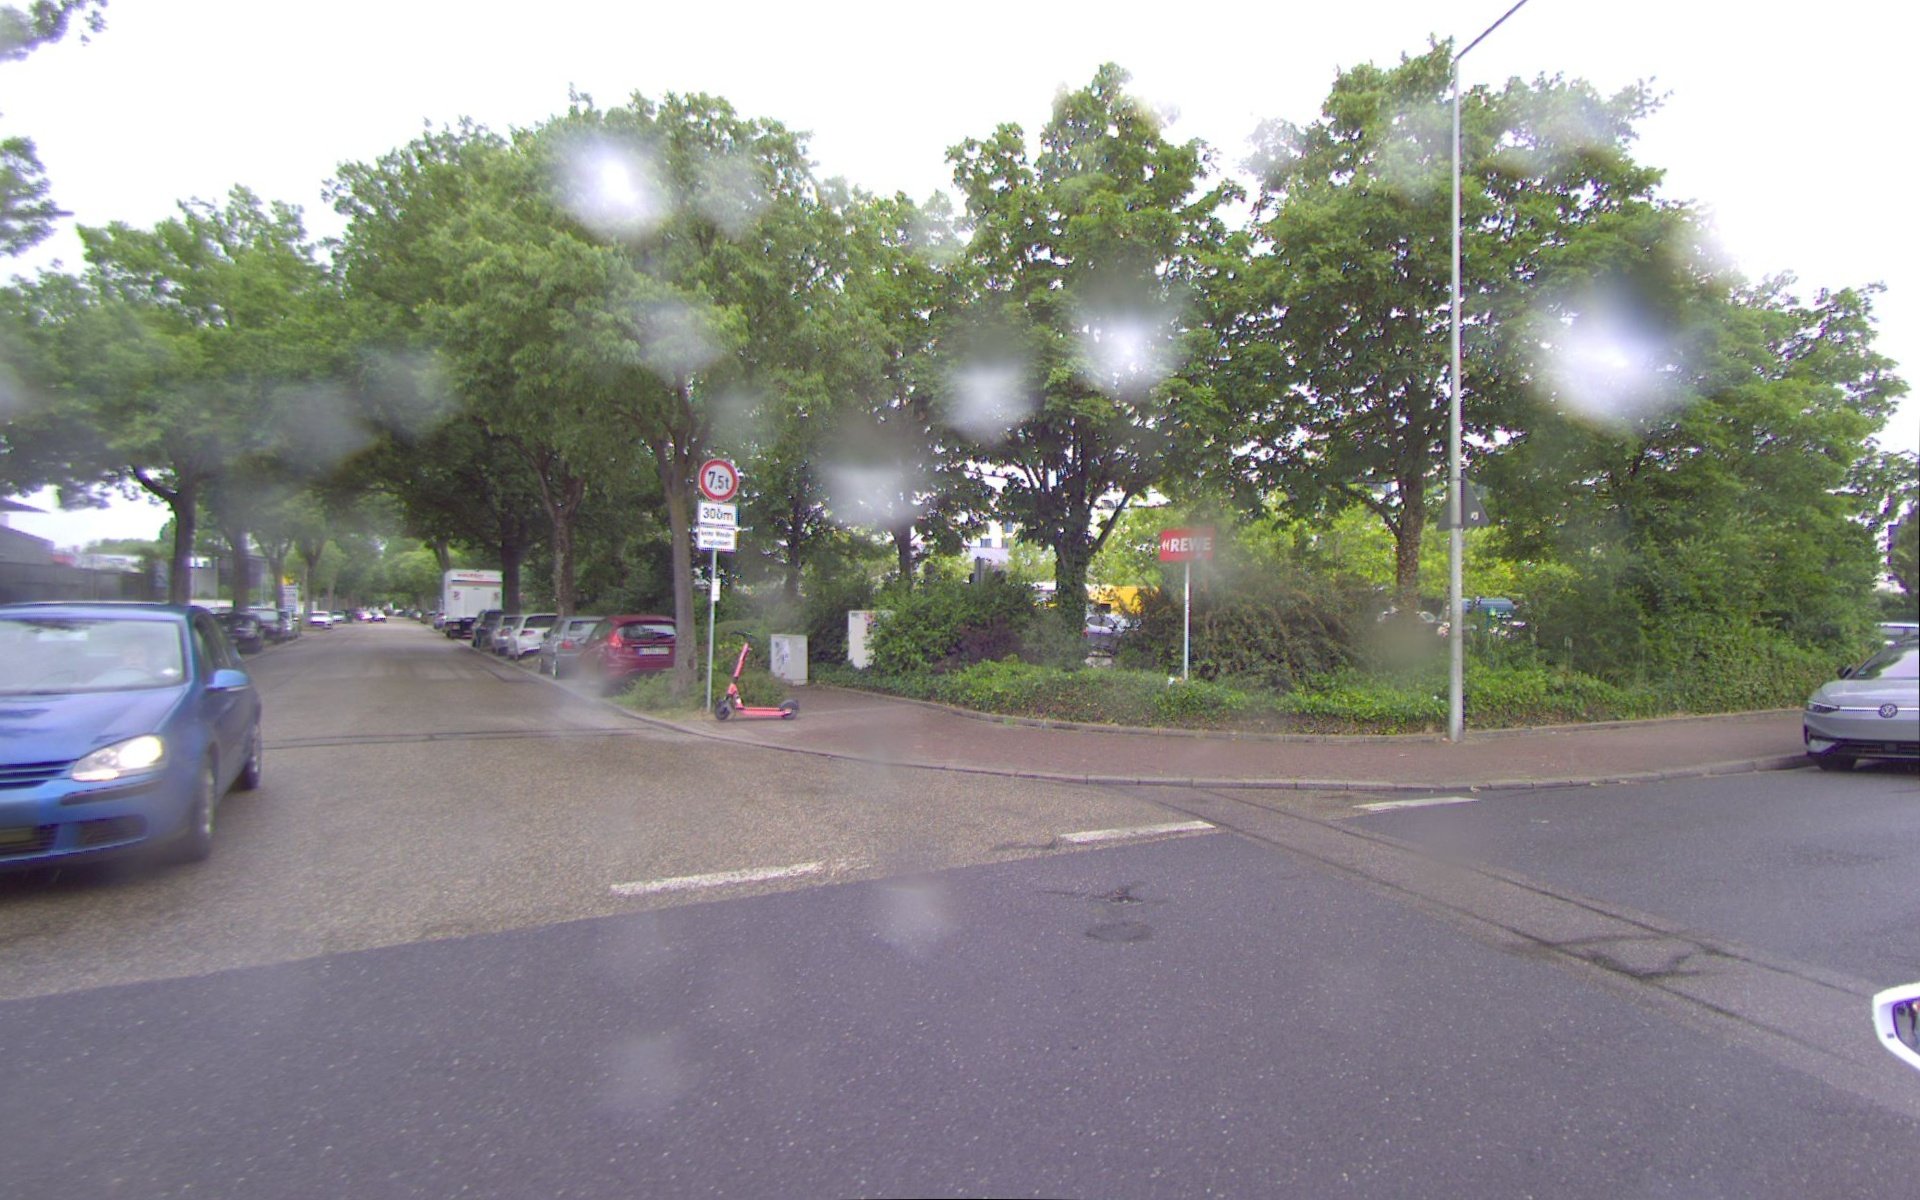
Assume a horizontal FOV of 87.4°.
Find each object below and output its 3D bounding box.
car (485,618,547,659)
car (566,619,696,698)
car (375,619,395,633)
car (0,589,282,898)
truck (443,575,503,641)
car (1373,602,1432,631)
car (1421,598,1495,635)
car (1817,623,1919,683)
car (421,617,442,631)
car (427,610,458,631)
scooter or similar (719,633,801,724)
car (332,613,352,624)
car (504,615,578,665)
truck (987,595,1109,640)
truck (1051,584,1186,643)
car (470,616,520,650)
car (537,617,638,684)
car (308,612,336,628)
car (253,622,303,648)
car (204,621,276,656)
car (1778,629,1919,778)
[{"bbox_3d":[-16.169,1.365,36.499,1.715,1.401,4.066,1,-2,-29],"label":"car"},{"bbox_3d":[-6.515,1.072,19.631,1.715,1.381,3.970,1,-2,-29],"label":"car"},{"bbox_3d":[-67.331,2.991,117.651,1.904,1.593,3.966,1,-1,-31],"label":"car"},{"bbox_3d":[-5.593,0.725,6.425,1.715,1.460,3.970,1,-2,-29],"label":"car"},{"bbox_3d":[-27.708,0.518,57.000,2.572,3.515,6.761,1,-1,-30],"label":"truck"},{"bbox_3d":[32.726,1.227,74.275,3.951,2.040,1.985,2,0,-29],"label":"car"},{"bbox_3d":[32.421,1.086,65.336,4.754,2.327,1.985,1,-1,-29],"label":"car"},{"bbox_3d":[25.111,1.376,25.971,1.693,1.479,4.168,1,0,-31],"label":"car"},{"bbox_3d":[-58.950,2.684,112.006,1.904,1.593,3.966,1,-1,-31],"label":"car"},{"bbox_3d":[-41.086,1.599,79.666,1.904,1.593,3.966,1,-1,-31],"label":"car"},{"bbox_3d":[-2.699,1.044,13.568,1.045,1.191,0.283,1,-1,-22],"label":"scooter or similar"},{"bbox_3d":[-68.761,2.084,111.762,1.550,1.218,3.972,1,-1,-27],"label":"car"},{"bbox_3d":[-13.212,1.222,31.541,1.715,1.460,3.970,1,-2,-29],"label":"car"},{"bbox_3d":[4.411,0.878,49.901,6.065,2.122,1.983,1,-1,-32],"label":"truck"},{"bbox_3d":[7.461,0.652,47.013,6.315,2.636,1.986,1,-1,-28],"label":"truck"},{"bbox_3d":[-20.471,1.443,44.138,1.715,1.401,4.066,1,-2,-29],"label":"car"},{"bbox_3d":[-9.072,1.171,24.268,1.715,1.460,3.970,1,-2,-29],"label":"car"},{"bbox_3d":[-51.292,1.589,80.778,1.550,1.218,3.972,1,-1,-27],"label":"car"},{"bbox_3d":[-34.042,1.732,50.238,1.550,1.218,3.972,1,-1,-27],"label":"car"},{"bbox_3d":[-26.359,1.384,36.878,1.550,1.218,3.972,1,-1,-27],"label":"car"},{"bbox_3d":[11.931,1.158,11.957,4.692,1.548,1.801,1,-5,-30],"label":"car"}]
